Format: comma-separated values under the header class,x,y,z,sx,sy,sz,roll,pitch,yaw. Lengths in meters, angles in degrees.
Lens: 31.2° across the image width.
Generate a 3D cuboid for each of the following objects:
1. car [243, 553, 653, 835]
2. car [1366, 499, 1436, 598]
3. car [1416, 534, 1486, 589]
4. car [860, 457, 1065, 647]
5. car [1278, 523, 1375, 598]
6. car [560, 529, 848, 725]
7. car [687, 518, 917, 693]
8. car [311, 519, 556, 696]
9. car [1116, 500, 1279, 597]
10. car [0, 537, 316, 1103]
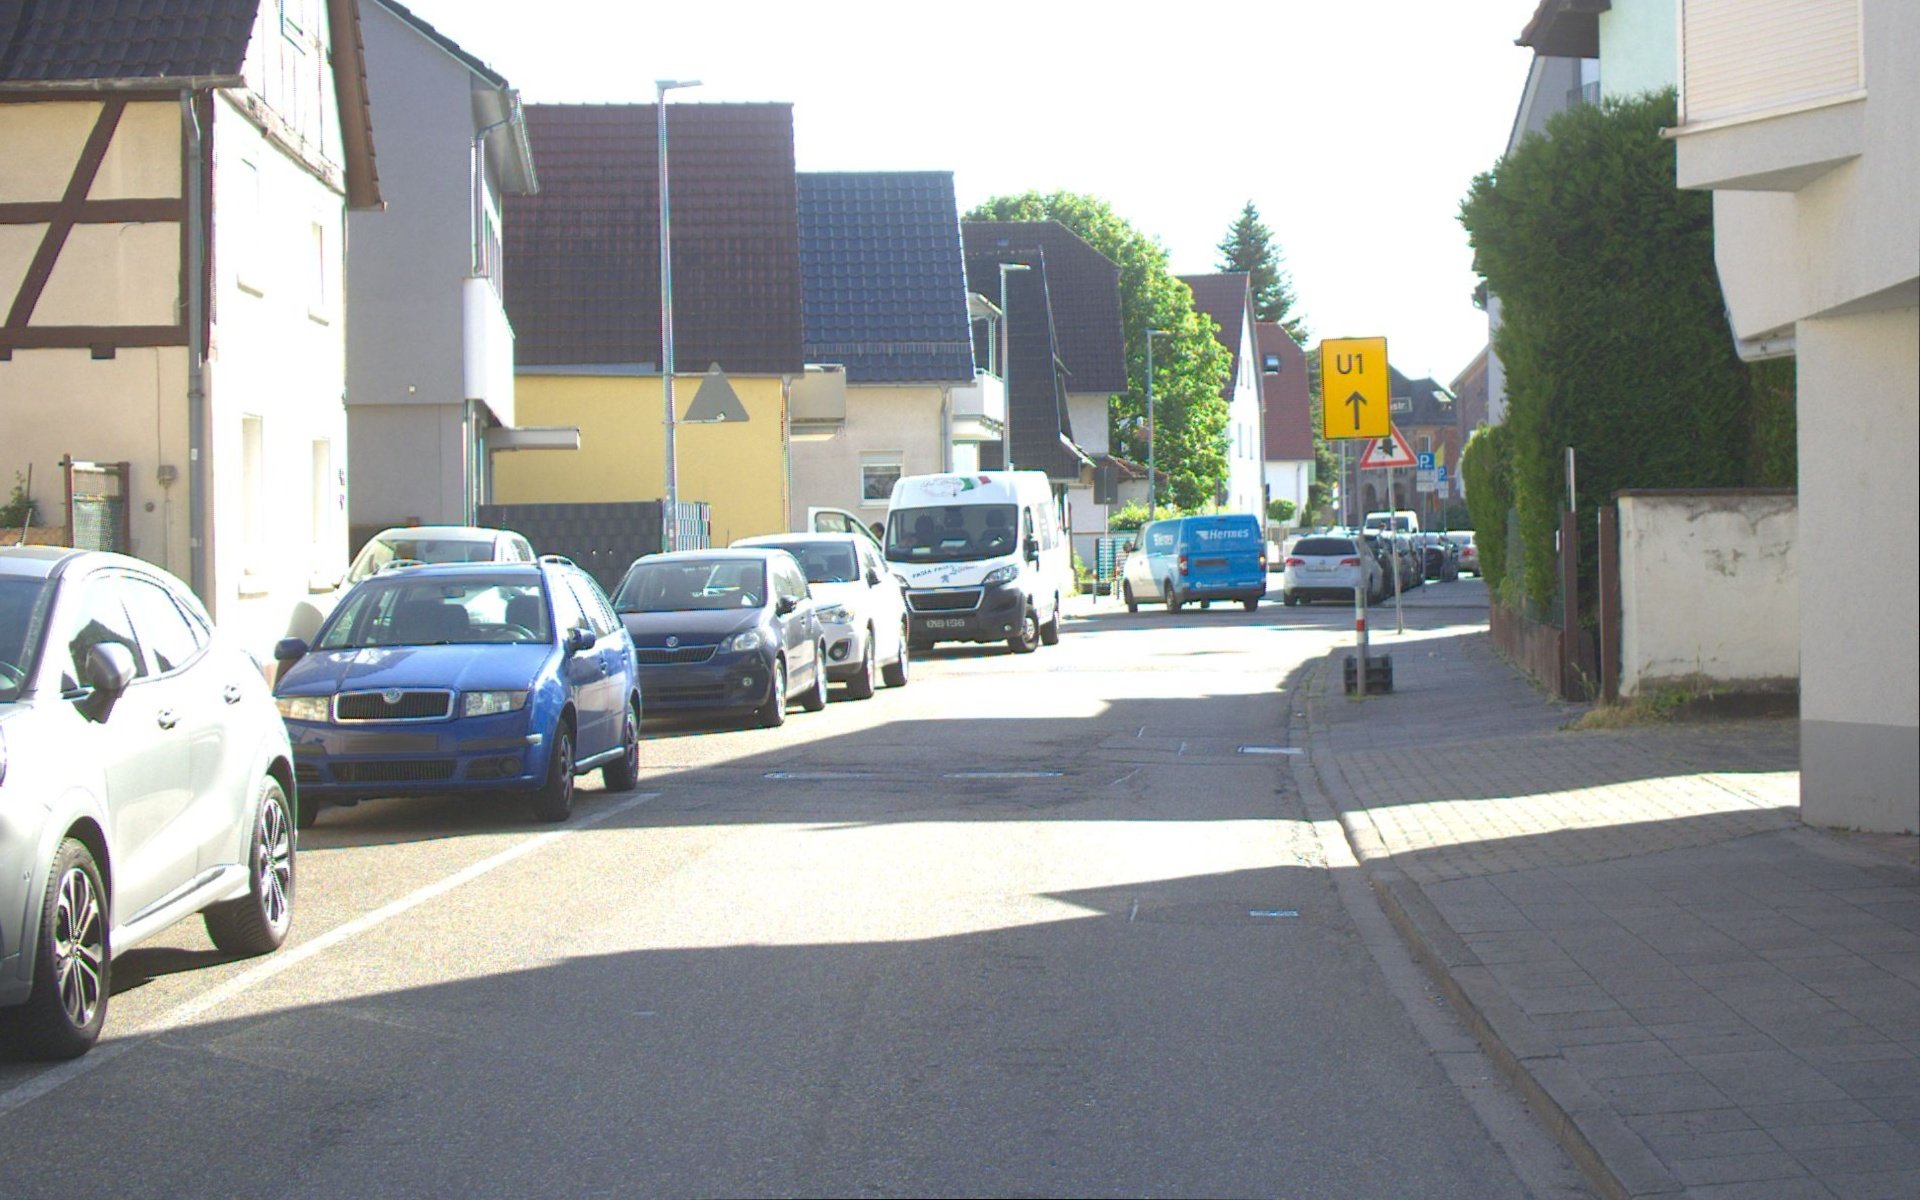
class,x,y,z,sx,sy,sz,roll,pitch,yaw
car,-2.870,0.470,20.080,1.639,1.436,4.075,-2,1,2
car,12.456,-1.421,97.021,1.845,2.630,3.998,1,-1,8
car,15.499,-1.205,108.438,1.931,1.565,3.998,1,-1,12
car,0.110,-0.666,46.998,2.077,2.386,5.207,-2,1,7
car,7.599,-0.799,71.546,1.844,1.408,3.999,1,-1,5
car,-2.123,0.189,29.642,1.704,1.513,4.121,-2,1,6
car,-1.495,0.010,33.996,1.674,1.566,3.965,-2,1,6
car,-5.128,0.022,33.932,1.721,1.590,4.017,1,2,1
car,4.684,-1.045,68.504,1.920,1.795,4.782,-3,2,-12
car,-3.381,0.575,11.221,1.673,1.500,4.094,-2,1,1
